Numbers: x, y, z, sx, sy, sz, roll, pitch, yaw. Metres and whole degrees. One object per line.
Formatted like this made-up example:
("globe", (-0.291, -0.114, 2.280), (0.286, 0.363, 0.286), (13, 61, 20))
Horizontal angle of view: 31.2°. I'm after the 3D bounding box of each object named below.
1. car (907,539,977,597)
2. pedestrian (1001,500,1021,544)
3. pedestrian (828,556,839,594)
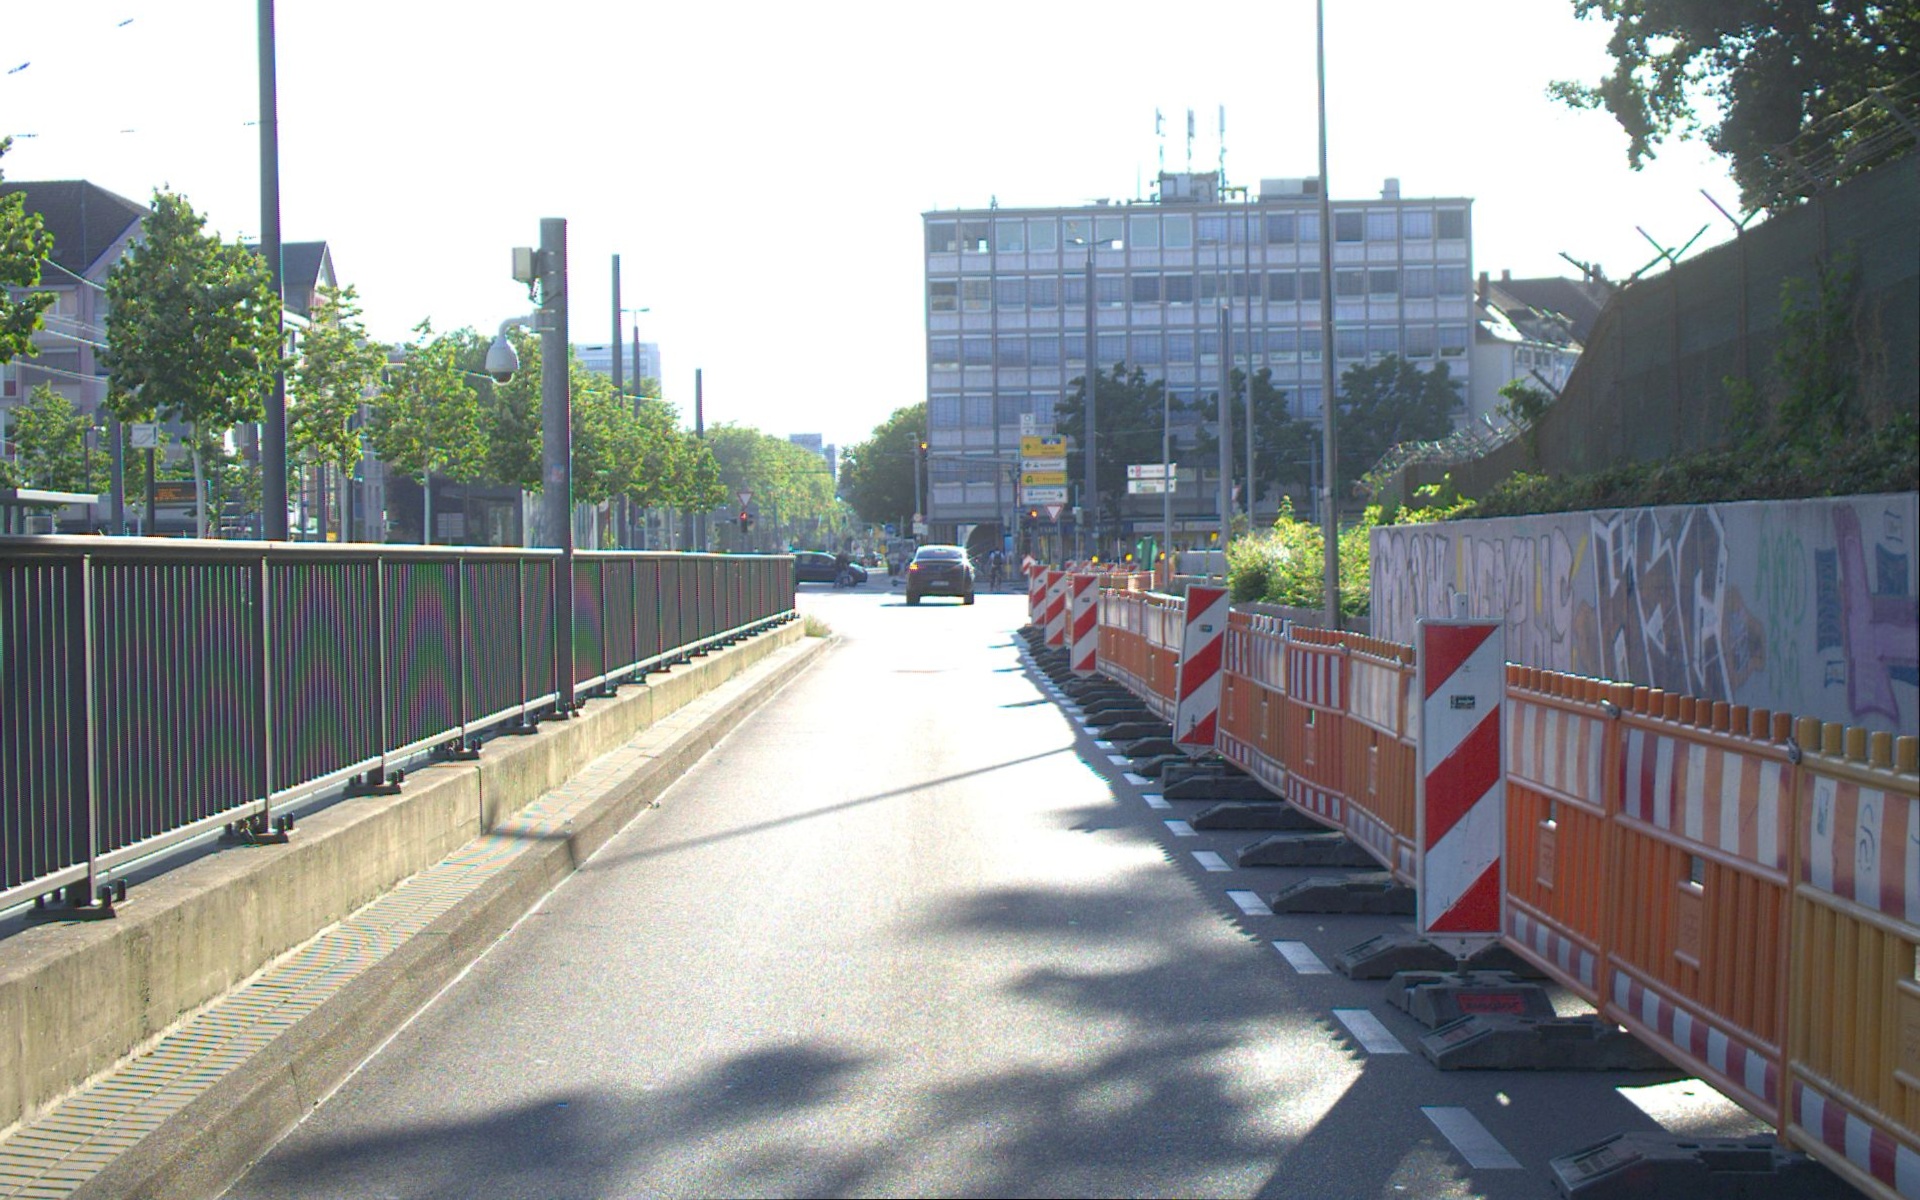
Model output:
("car", (-0.517, -0.936, 102.778), (2.005, 1.653, 4.000), (1, 0, 0))
("pedestrian", (2.466, -3.788, 166.356), (0.891, 2.105, 0.718), (0, 1, 5))
("pedestrian", (-5.271, -1.029, 142.829), (0.275, 1.569, 0.440), (1, 0, -26))
